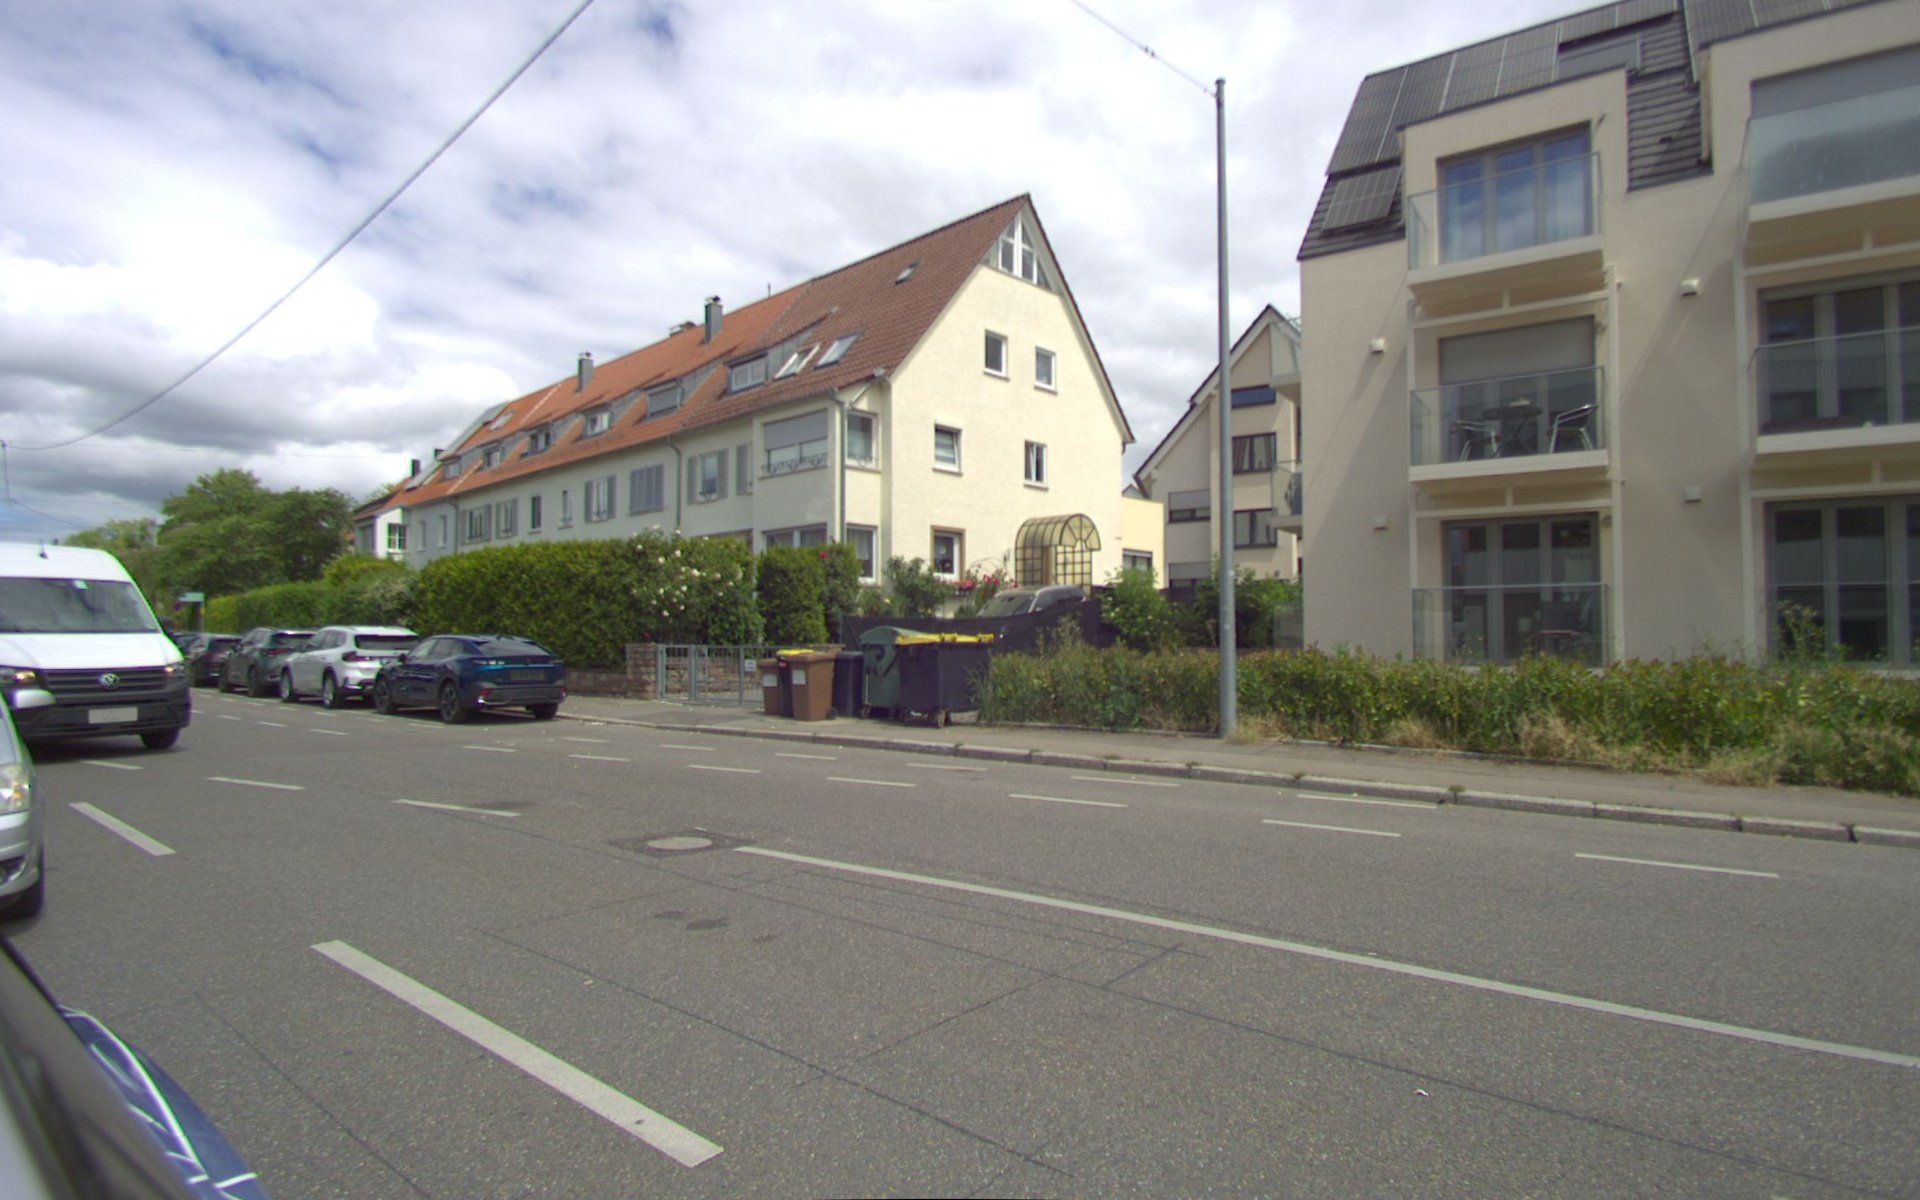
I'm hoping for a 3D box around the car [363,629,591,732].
[{"bbox_3d":[-8.698,1.334,18.074,4.485,1.599,1.973,-1,-3,40],"label":"car"}]

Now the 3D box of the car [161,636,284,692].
[{"bbox_3d":[-20.847,1.736,28.525,4.690,1.419,1.971,-2,-3,43],"label":"car"}]

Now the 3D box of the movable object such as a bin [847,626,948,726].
[{"bbox_3d":[-0.983,1.166,15.967,1.213,1.493,1.054,-2,-3,39],"label":"movable object such as a bin"}]

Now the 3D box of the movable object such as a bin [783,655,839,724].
[{"bbox_3d":[-2.316,1.377,15.733,0.658,1.015,0.589,-2,-3,41],"label":"movable object such as a bin"}]

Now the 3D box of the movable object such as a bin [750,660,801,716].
[{"bbox_3d":[-3.074,1.463,16.879,0.614,0.886,0.589,-2,-3,41],"label":"movable object such as a bin"}]

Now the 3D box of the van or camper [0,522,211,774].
[{"bbox_3d":[-12.074,0.622,12.669,5.894,2.600,2.012,-3,-2,28],"label":"van or camper"}]

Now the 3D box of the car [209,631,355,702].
[{"bbox_3d":[-16.736,1.565,24.884,4.690,1.576,1.971,-2,-3,43],"label":"car"}]

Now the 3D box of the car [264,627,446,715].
[{"bbox_3d":[-12.733,1.401,21.203,4.515,1.663,1.972,-1,-3,41],"label":"car"}]

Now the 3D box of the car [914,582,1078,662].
[{"bbox_3d":[0.925,0.504,23.786,1.802,1.719,3.946,-2,-1,40],"label":"car"}]

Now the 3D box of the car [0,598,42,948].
[{"bbox_3d":[-6.284,0.815,5.516,4.332,1.552,1.684,-2,-1,45],"label":"car"}]

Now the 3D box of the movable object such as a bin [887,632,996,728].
[{"bbox_3d":[-0.276,1.137,14.878,1.214,1.323,1.053,-2,-3,43],"label":"movable object such as a bin"}]

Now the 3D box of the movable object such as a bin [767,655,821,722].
[{"bbox_3d":[-2.680,1.421,16.334,0.658,1.032,0.589,-2,-3,41],"label":"movable object such as a bin"}]

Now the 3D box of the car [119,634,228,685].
[{"bbox_3d":[-25.225,1.845,32.420,4.561,1.503,1.760,-1,-3,39],"label":"car"}]
